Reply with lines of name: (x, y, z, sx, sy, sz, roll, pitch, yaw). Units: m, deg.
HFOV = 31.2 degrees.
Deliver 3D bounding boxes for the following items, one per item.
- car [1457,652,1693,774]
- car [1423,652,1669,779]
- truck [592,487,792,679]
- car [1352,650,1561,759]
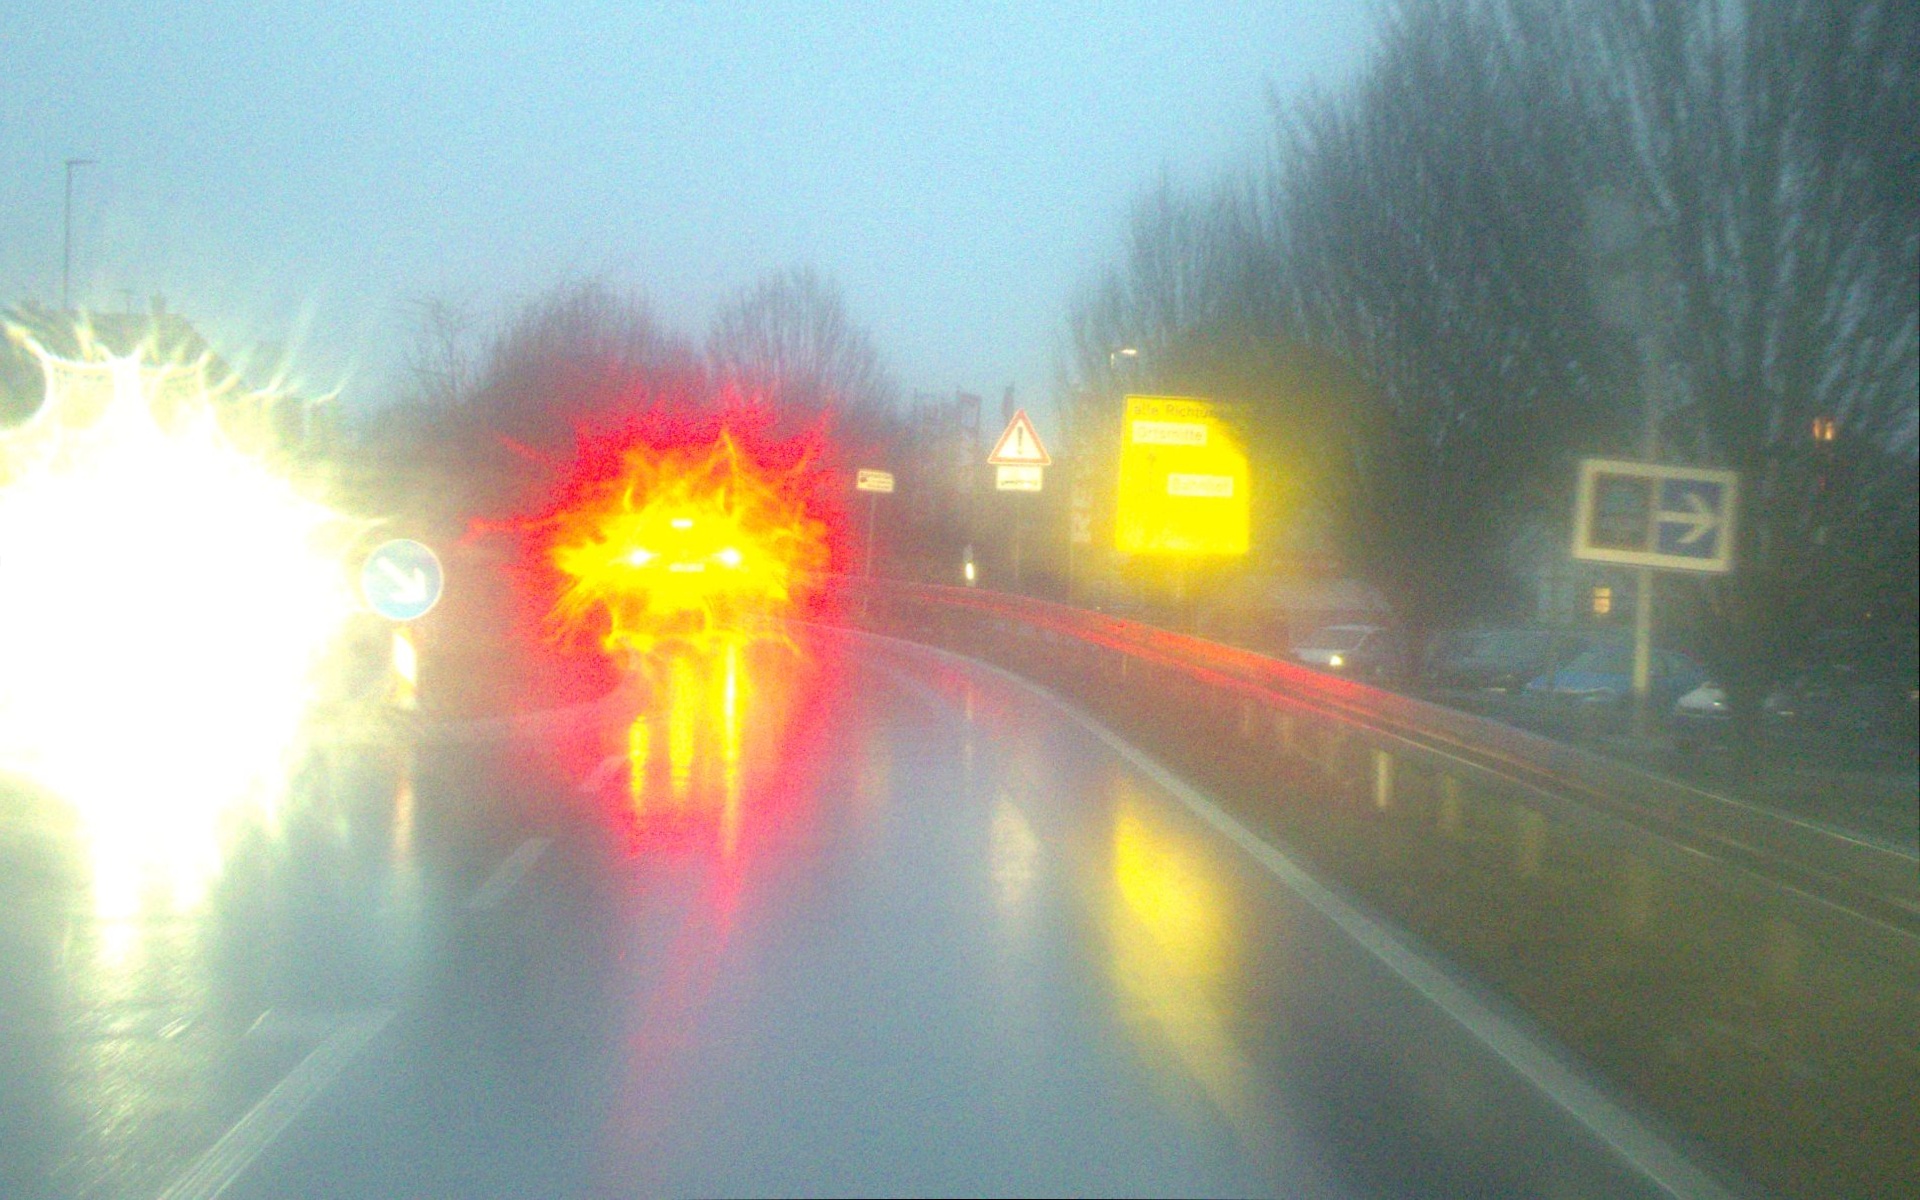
car: (10.855, 2.009, 60.908, 3.988, 2.007, 1.999, 2, -2, 8)
car: (9.908, 1.962, 58.388, 3.988, 2.007, 1.999, 2, -2, 8)
truck: (-4.426, -0.344, 55.822, 2.531, 2.859, 5.924, 2, 1, -10)
car: (9.790, 2.075, 67.969, 3.988, 2.007, 1.999, 2, -2, 8)
